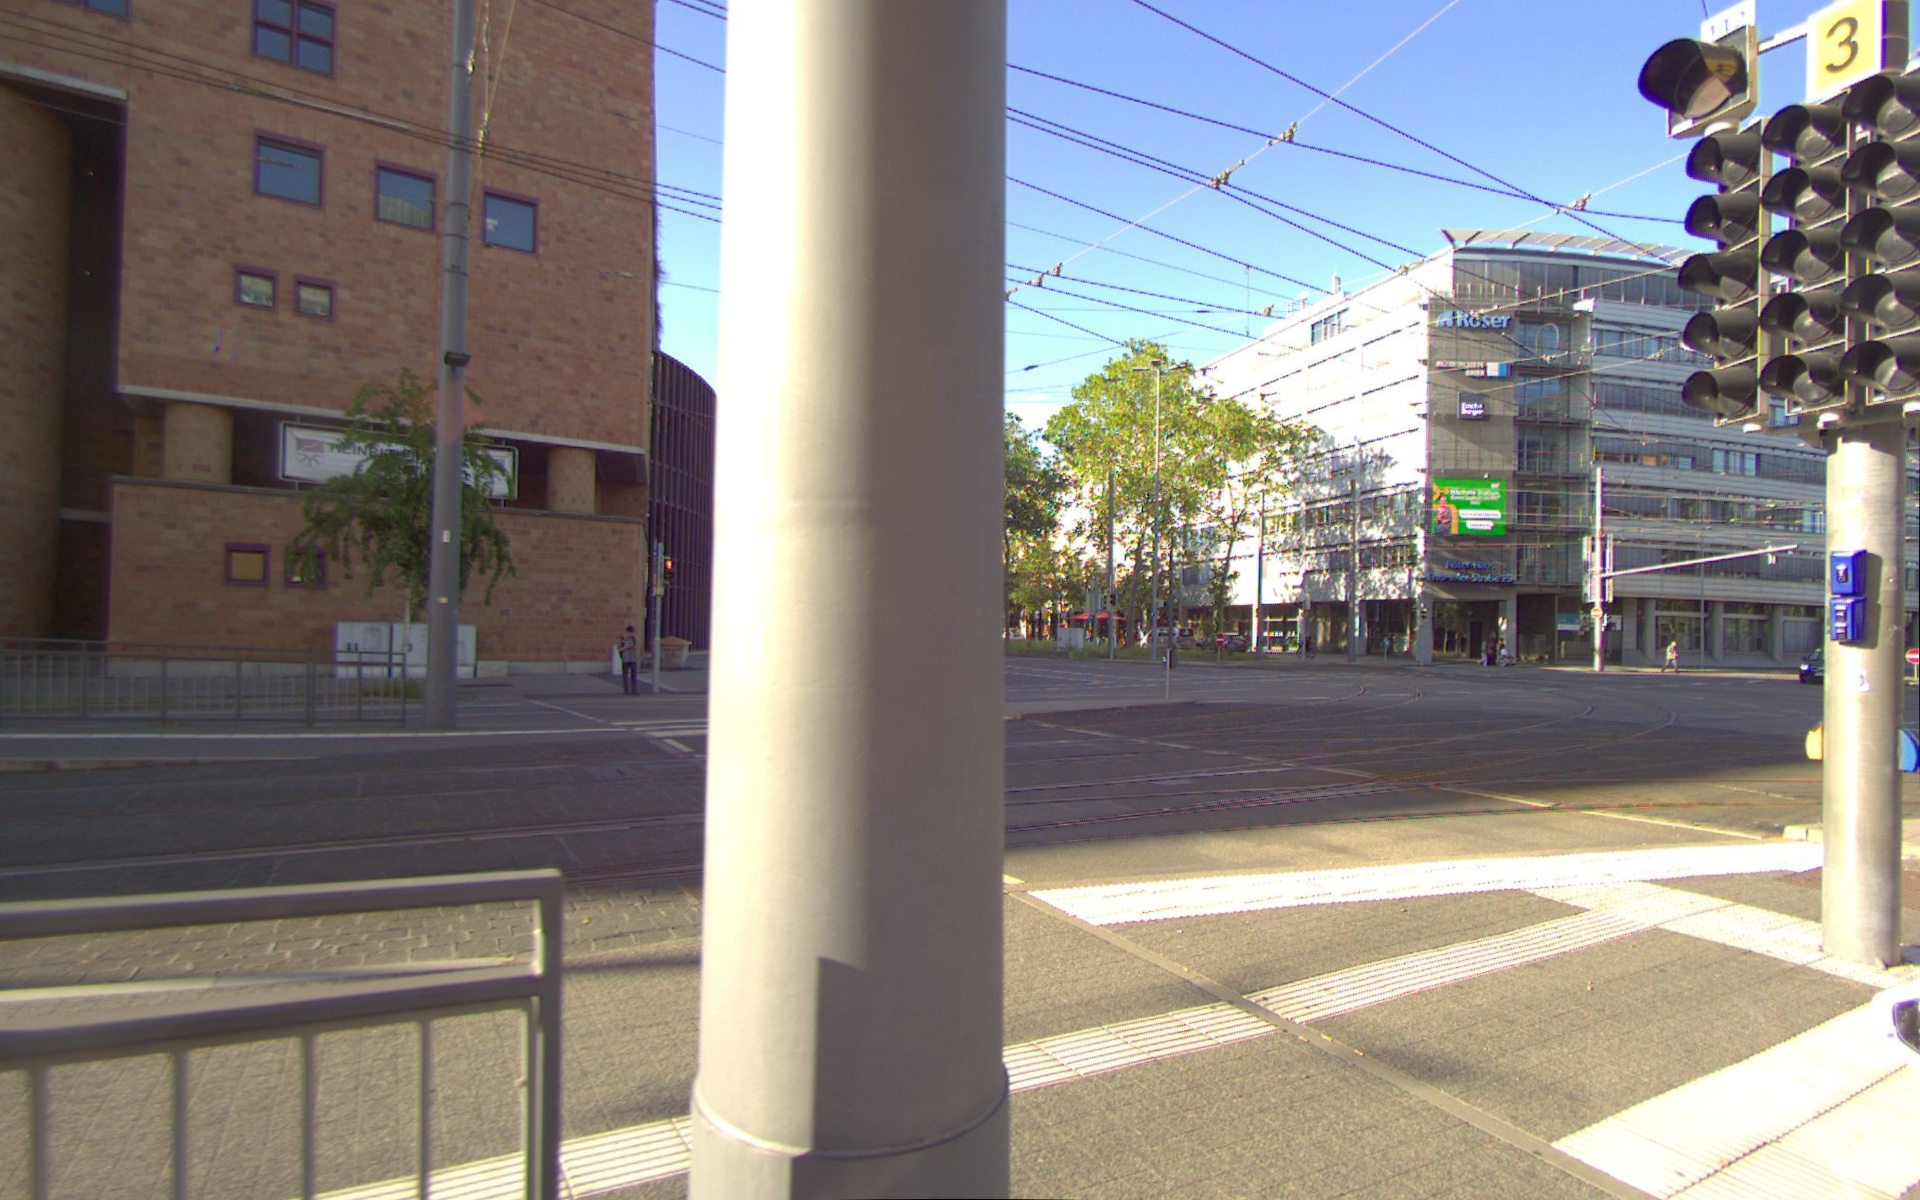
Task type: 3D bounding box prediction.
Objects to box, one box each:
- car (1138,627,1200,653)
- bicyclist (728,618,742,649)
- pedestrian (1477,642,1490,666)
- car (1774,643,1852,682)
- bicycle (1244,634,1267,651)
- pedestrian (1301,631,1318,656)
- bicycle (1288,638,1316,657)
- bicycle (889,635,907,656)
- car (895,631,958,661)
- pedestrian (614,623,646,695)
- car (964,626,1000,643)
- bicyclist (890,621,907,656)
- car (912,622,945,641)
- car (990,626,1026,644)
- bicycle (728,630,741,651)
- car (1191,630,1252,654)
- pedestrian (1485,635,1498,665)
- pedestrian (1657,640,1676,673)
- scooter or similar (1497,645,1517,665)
[{"bbox_3d":[15.806,3.014,76.272,1.904,1.868,4.888,-1,-1,-28],"label":"car"},{"bbox_3d":[-12.010,1.774,53.575,0.674,1.611,0.925,2,-1,-13],"label":"bicyclist"},{"bbox_3d":[30.896,3.193,59.315,0.627,1.420,0.545,1,-1,31],"label":"pedestrian"},{"bbox_3d":[35.978,2.599,42.452,1.765,1.485,4.302,-1,-2,30],"label":"car"},{"bbox_3d":[21.927,3.150,74.570,1.812,1.167,0.467,0,0,-24],"label":"bicycle"},{"bbox_3d":[22.967,2.858,66.030,0.598,1.633,0.832,-1,1,-27],"label":"pedestrian"},{"bbox_3d":[22.398,3.099,65.837,0.605,1.179,1.834,-2,1,-28],"label":"bicycle"},{"bbox_3d":[-2.973,2.166,48.032,0.528,0.925,1.564,2,-2,-16],"label":"bicycle"},{"bbox_3d":[-1.767,2.361,51.708,1.637,1.346,3.590,2,-1,-32],"label":"car"},{"bbox_3d":[-7.641,1.364,23.279,0.501,1.638,0.504,2,0,-41],"label":"pedestrian"},{"bbox_3d":[2.203,3.487,102.602,1.969,1.650,4.054,1,-1,-29],"label":"car"},{"bbox_3d":[-2.928,1.852,47.989,0.614,1.643,0.812,2,-1,-17],"label":"bicyclist"},{"bbox_3d":[-3.563,3.487,112.705,2.012,2.003,4.381,1,-1,-29],"label":"car"},{"bbox_3d":[4.636,3.373,97.326,1.840,1.660,3.844,1,-1,-25],"label":"car"},{"bbox_3d":[-12.024,2.157,53.535,0.606,1.094,1.915,2,-2,-13],"label":"bicycle"},{"bbox_3d":[18.594,2.980,71.684,1.840,1.594,4.387,-1,-1,-25],"label":"car"},{"bbox_3d":[31.713,2.983,59.969,0.627,1.731,0.580,1,-1,31],"label":"pedestrian"},{"bbox_3d":[39.825,3.199,56.591,0.664,1.847,0.885,0,-3,22],"label":"pedestrian"},{"bbox_3d":[32.408,3.284,59.549,1.001,1.144,0.549,0,-1,31],"label":"scooter or similar"}]
